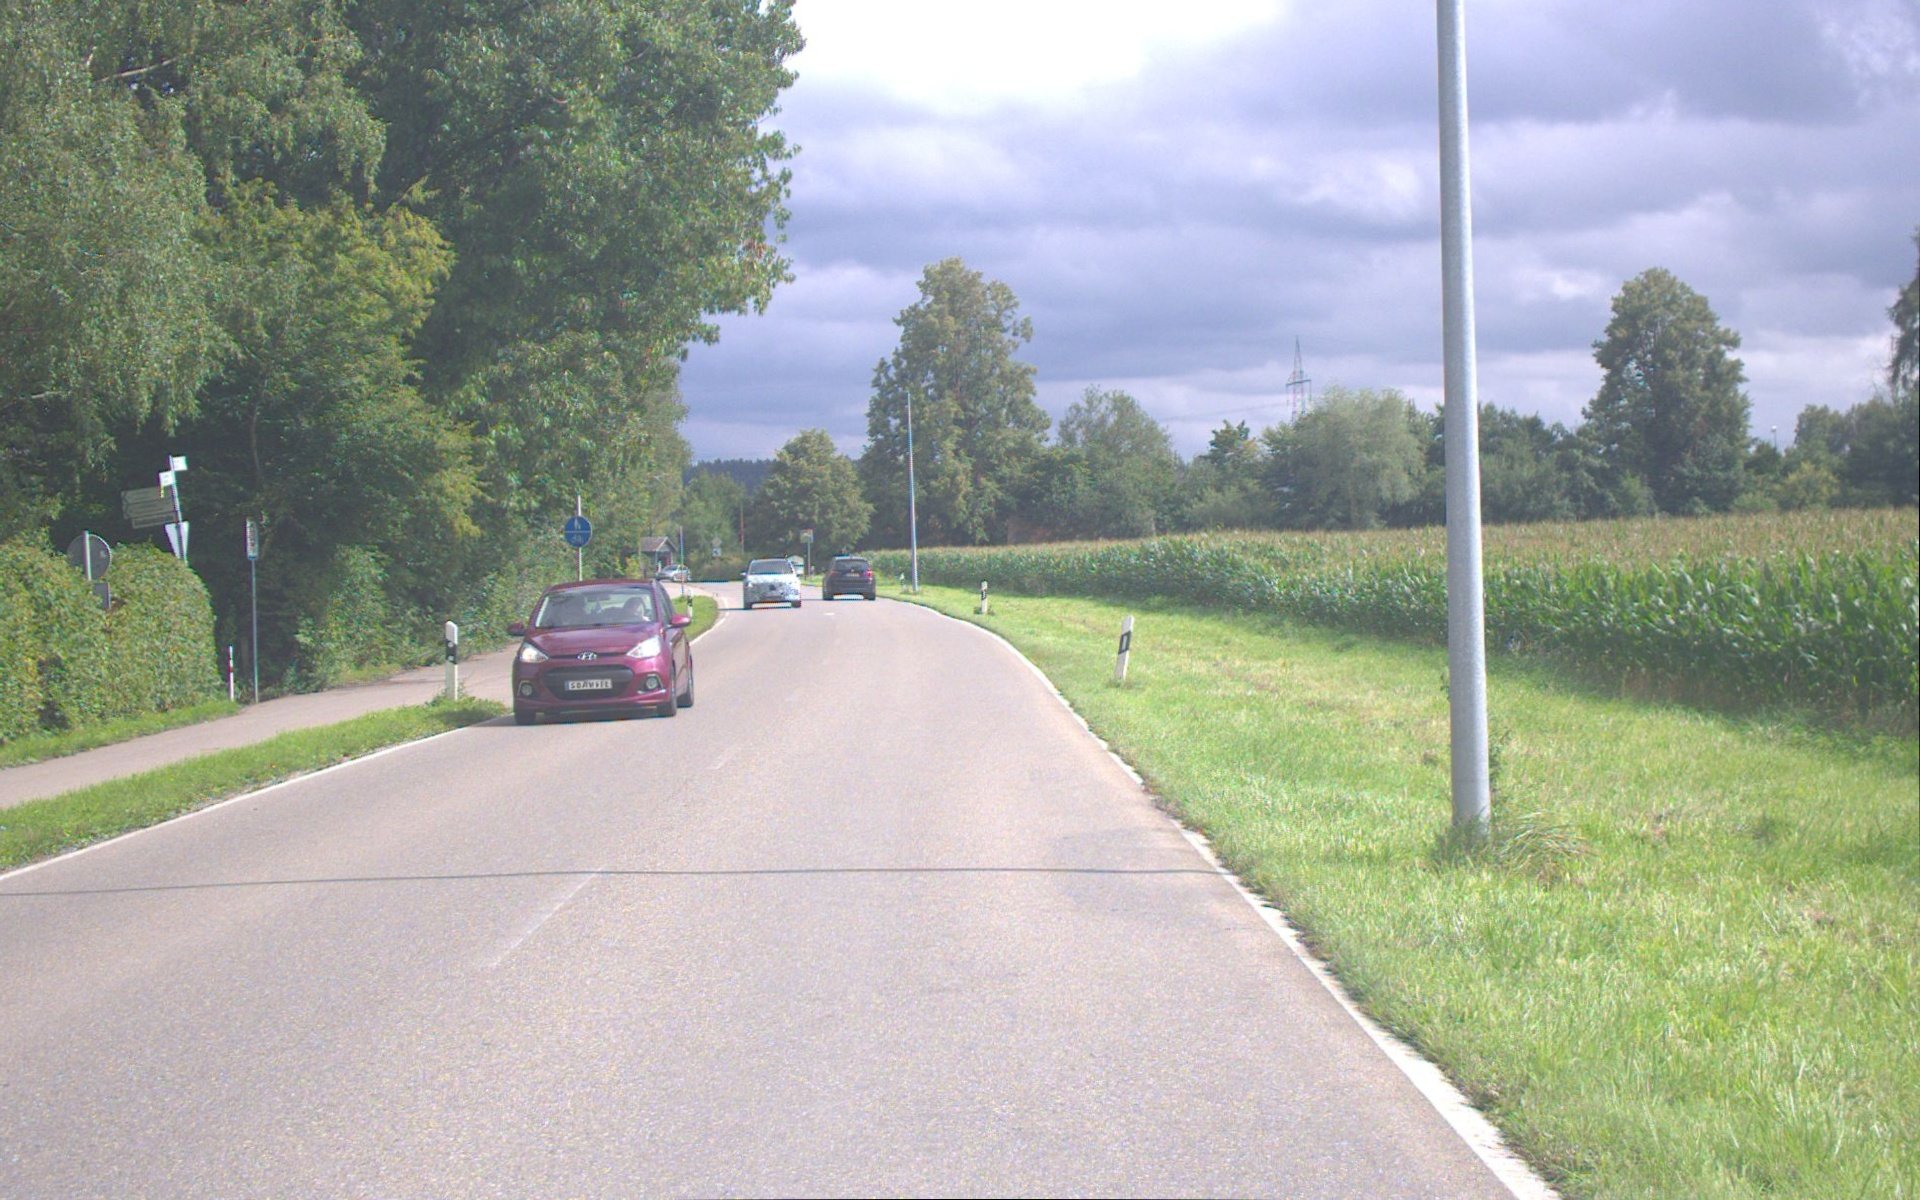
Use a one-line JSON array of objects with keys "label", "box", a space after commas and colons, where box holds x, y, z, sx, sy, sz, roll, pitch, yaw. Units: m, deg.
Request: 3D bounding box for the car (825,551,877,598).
[{"label": "car", "box": [-4.151, -0.987, 131.707, 1.906, 1.660, 4.000, -2, 1, -1]}]

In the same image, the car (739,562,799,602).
[{"label": "car", "box": [-6.292, -0.600, 113.581, 1.745, 1.218, 3.543, -2, 1, 0]}]

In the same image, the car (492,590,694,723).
[{"label": "car", "box": [-3.847, 0.566, 36.548, 1.745, 1.218, 3.543, -2, 1, 0]}]
